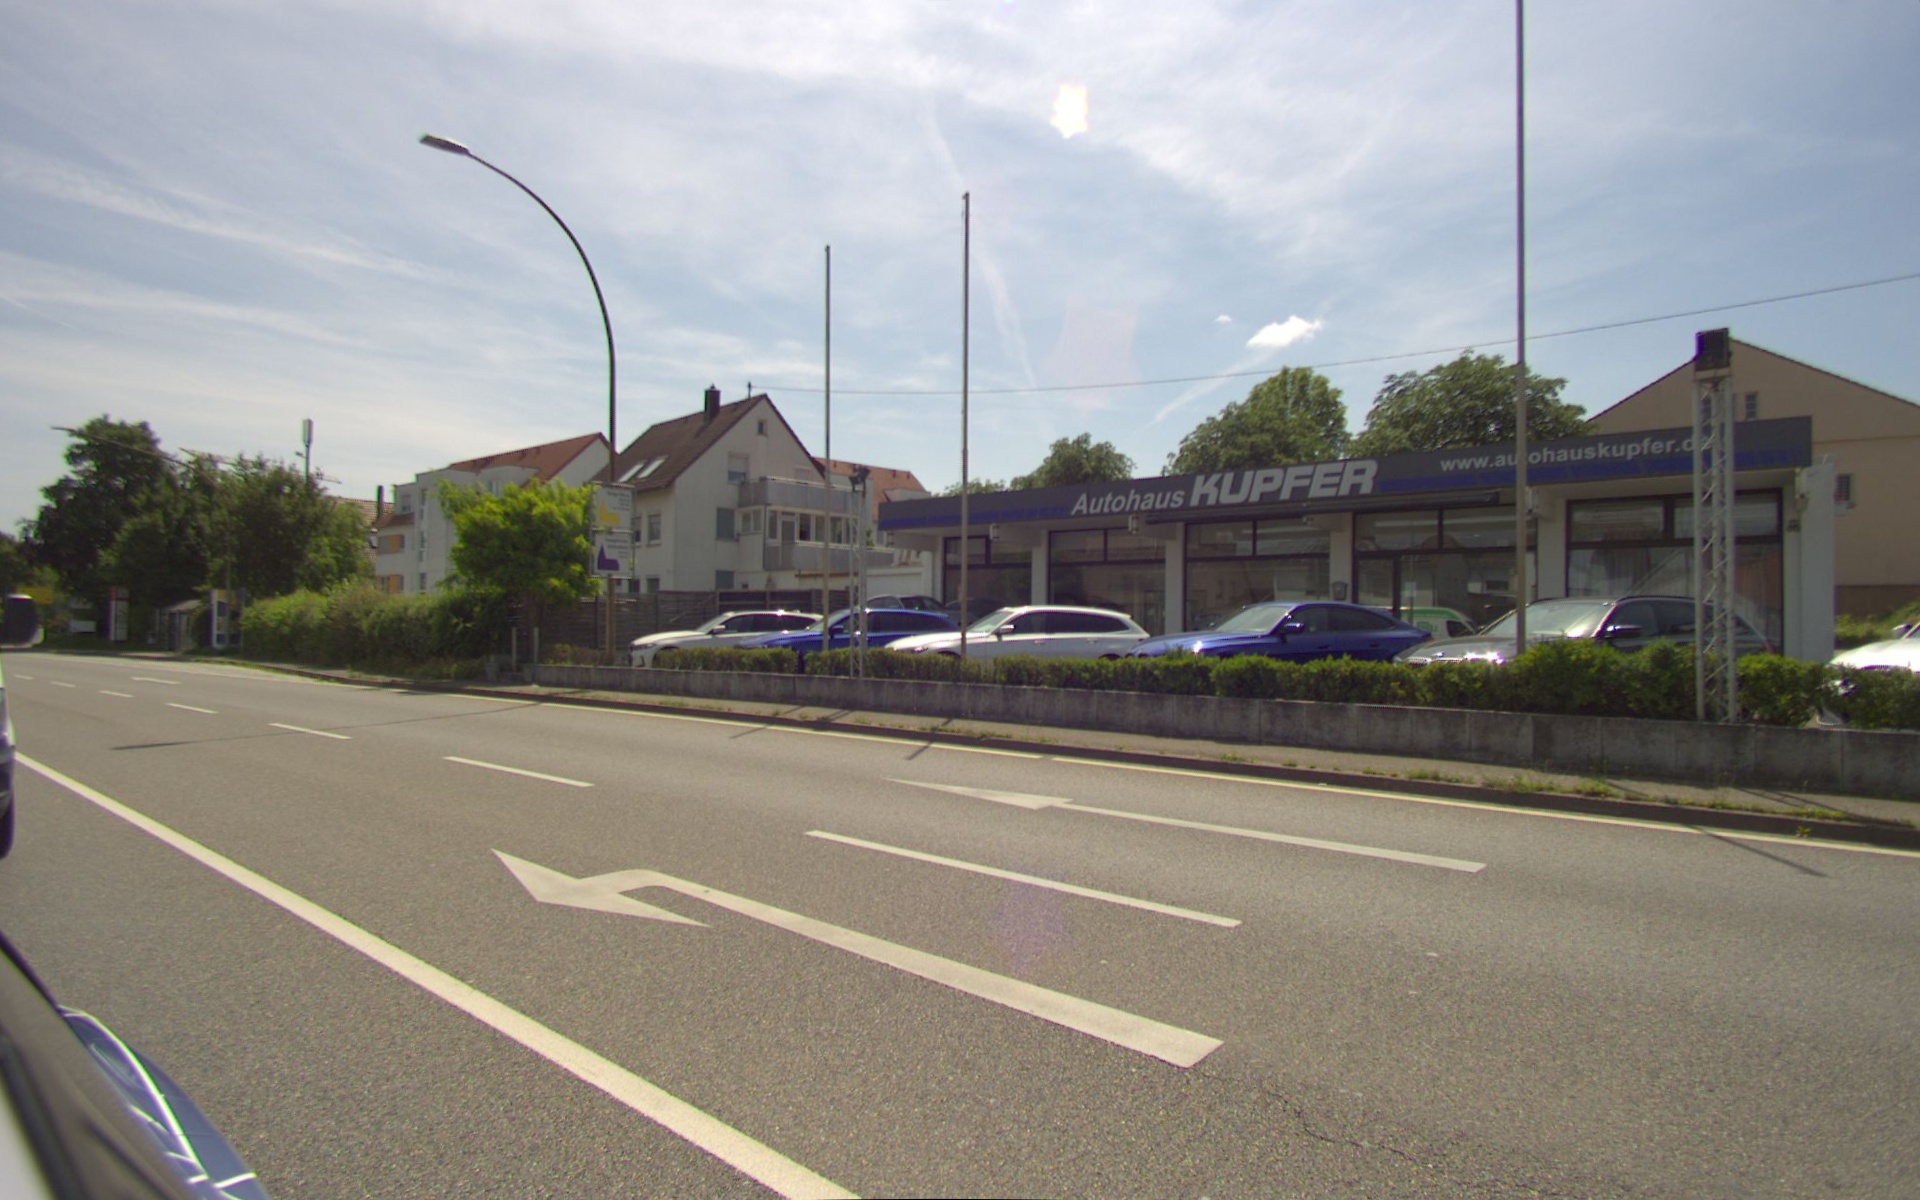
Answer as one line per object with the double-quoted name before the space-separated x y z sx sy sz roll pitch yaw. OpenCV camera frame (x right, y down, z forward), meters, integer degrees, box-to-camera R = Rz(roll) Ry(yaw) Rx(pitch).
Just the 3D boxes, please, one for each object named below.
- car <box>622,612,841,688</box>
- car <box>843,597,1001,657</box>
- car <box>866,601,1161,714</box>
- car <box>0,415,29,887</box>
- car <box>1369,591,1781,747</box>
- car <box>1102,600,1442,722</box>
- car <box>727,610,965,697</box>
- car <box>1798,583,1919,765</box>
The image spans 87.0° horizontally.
"car" -5.062 1.039 22.418 4.501 1.458 1.863 -1 0 -21
"car" -1.113 0.701 27.193 1.781 1.475 4.589 -1 -1 -40
"car" 0.867 0.858 16.731 4.438 1.458 1.863 -3 1 -20
"car" -7.909 0.329 6.672 5.744 2.548 1.915 -2 -1 40
"car" 6.957 0.656 11.448 4.267 1.458 1.905 -1 0 -25
"car" 4.330 0.752 14.129 4.267 1.458 1.863 -1 0 -20
"car" -2.228 0.970 19.721 4.267 1.458 1.863 -1 0 -21
"car" 9.634 0.565 8.858 4.267 1.458 1.863 -1 0 -25
